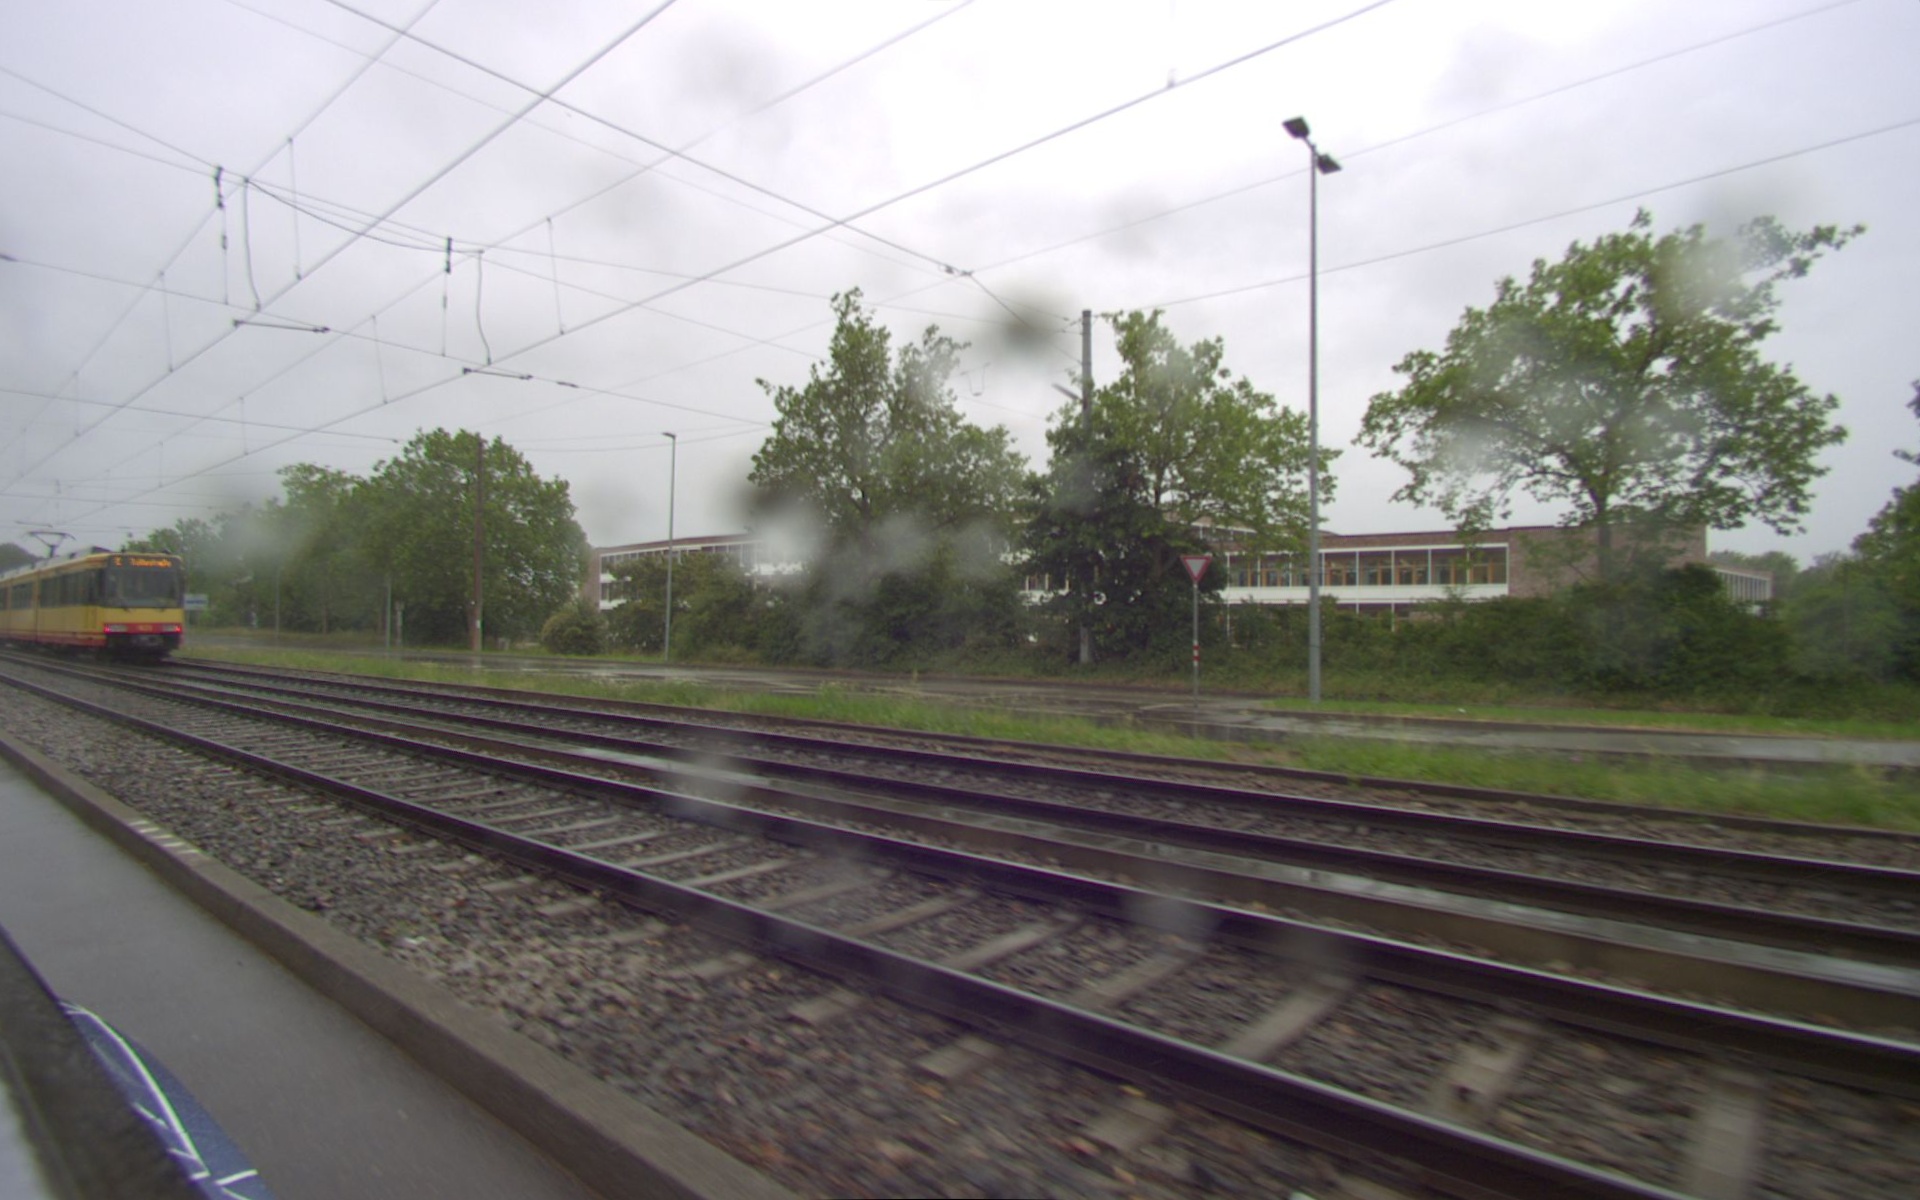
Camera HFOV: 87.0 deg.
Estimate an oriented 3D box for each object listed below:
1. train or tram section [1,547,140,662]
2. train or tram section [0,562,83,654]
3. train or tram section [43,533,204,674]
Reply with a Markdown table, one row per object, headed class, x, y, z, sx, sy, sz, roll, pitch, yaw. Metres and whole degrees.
| class | x | y | z | sx | sy | sz | roll | pitch | yaw |
| --- | --- | --- | --- | --- | --- | --- | --- | --- | --- |
| train or tram section | -37.391 | 0.242 | 42.294 | 13.014 | 4.181 | 2.777 | -1 | -1 | 42 |
| train or tram section | -47.111 | 0.472 | 50.984 | 13.015 | 4.181 | 2.777 | -1 | -1 | 42 |
| train or tram section | -28.725 | 0.136 | 34.515 | 10.267 | 4.181 | 2.781 | 0 | -1 | 42 |
